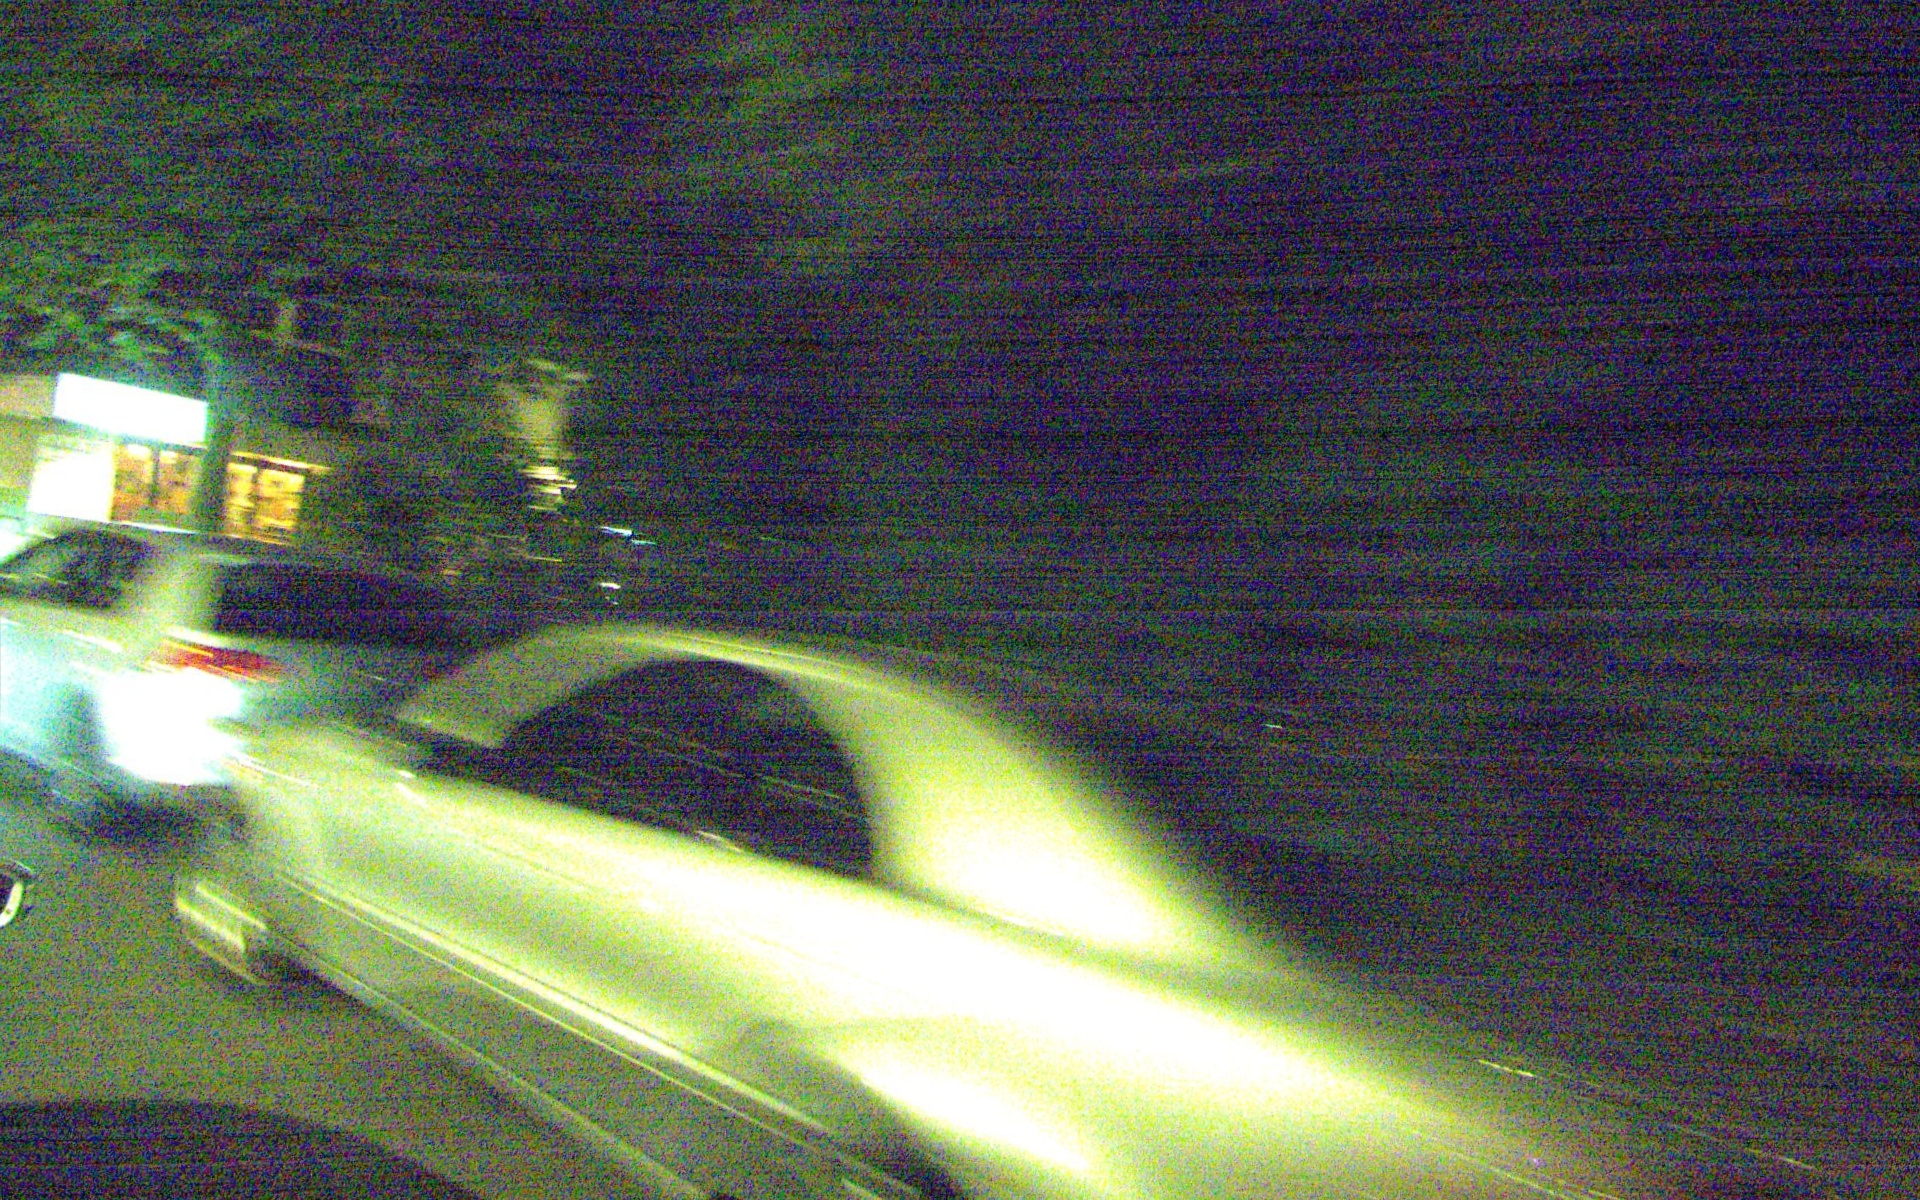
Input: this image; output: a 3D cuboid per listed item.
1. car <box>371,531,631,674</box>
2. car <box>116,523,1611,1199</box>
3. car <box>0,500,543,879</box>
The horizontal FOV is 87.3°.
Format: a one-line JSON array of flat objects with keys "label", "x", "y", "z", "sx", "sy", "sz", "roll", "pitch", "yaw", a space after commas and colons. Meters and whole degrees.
[{"label": "car", "x": -6.439, "y": 0.081, "z": 14.677, "sx": 1.675, "sy": 1.604, "sz": 4.070, "roll": 7, "pitch": -1, "yaw": 2}, {"label": "car", "x": -0.729, "y": 0.753, "z": 3.172, "sx": 4.538, "sy": 1.463, "sz": 1.679, "roll": 7, "pitch": -3, "yaw": 34}, {"label": "car", "x": -4.678, "y": 0.298, "z": 5.944, "sx": 4.217, "sy": 1.453, "sz": 1.784, "roll": 7, "pitch": -2, "yaw": 31}]
